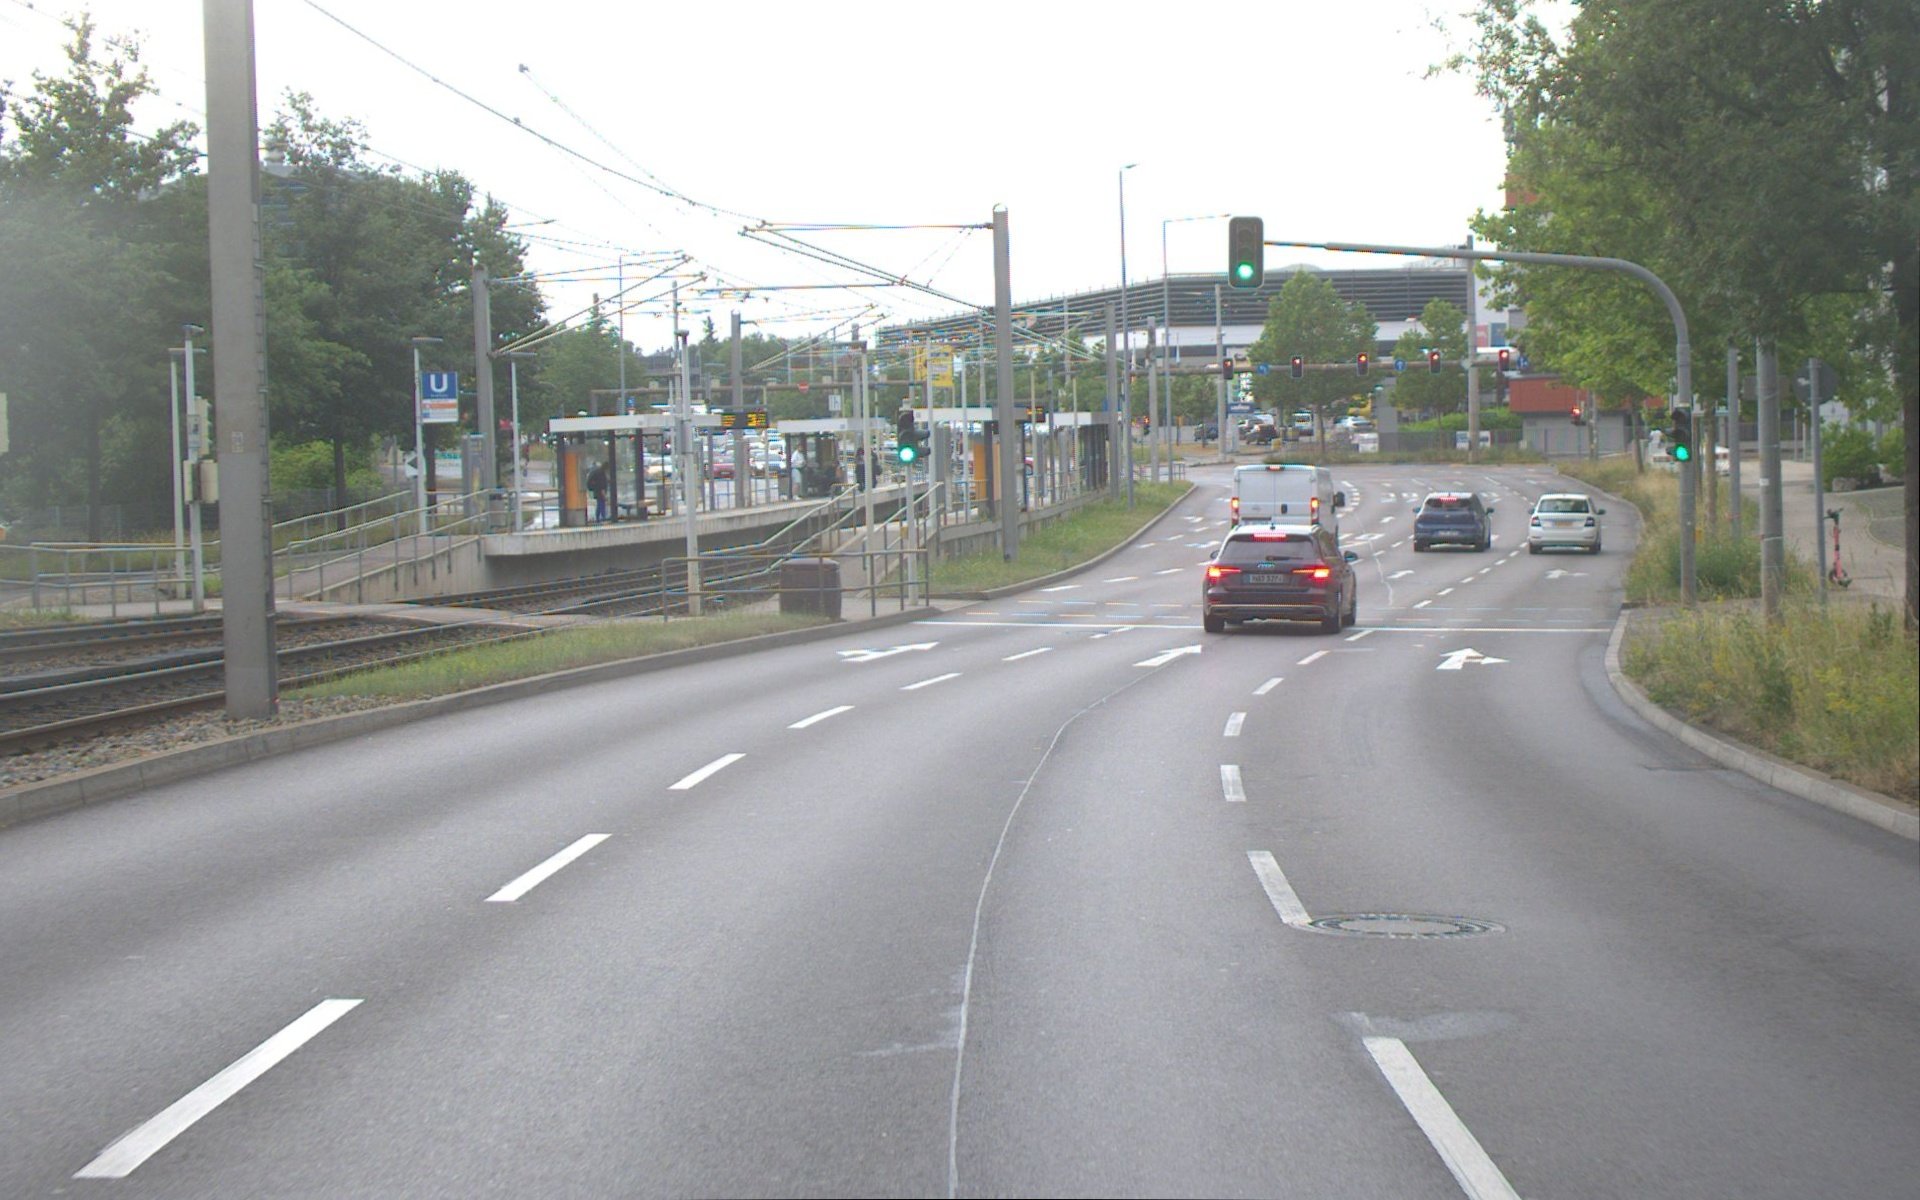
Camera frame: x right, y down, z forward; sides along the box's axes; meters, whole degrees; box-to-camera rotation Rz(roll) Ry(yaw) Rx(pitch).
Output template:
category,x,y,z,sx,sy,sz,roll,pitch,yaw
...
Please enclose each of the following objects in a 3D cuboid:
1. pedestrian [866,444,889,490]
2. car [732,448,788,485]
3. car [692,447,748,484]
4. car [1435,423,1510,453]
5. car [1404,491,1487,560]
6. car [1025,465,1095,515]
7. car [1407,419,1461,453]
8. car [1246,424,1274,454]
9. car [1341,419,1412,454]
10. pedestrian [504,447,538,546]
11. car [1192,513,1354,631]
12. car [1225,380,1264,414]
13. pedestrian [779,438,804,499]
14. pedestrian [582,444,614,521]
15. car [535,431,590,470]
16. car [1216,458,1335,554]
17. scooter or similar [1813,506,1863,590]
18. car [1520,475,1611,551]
category,x,y,z,sx,sy,sz,roll,pitch,yaw
pedestrian,-3.178,-5.129,132.406,0.752,1.745,0.764,0,0,8
car,-11.831,-7.853,203.086,1.993,2.007,4.001,0,0,-24
car,-14.009,-7.854,200.835,1.993,2.007,4.001,0,0,-24
car,28.923,-9.150,194.138,2.021,1.617,4.000,-1,3,-33
car,12.216,-1.864,86.670,2.022,1.617,3.999,0,0,7
car,3.391,-3.721,116.073,1.994,1.447,3.848,0,5,7
car,31.026,-10.750,225.024,1.993,2.007,4.001,0,0,-18
car,21.665,-11.607,248.505,1.818,2.007,3.471,0,0,2
car,24.620,-9.667,203.324,1.994,2.006,4.000,0,2,-34
pedestrian,-8.764,-2.064,68.678,0.549,1.946,0.664,0,0,3
car,4.267,-0.409,46.316,1.765,1.458,4.625,0,2,10
car,19.239,-13.723,232.577,1.993,2.007,4.000,0,0,-4
pedestrian,-5.780,-4.503,117.925,0.689,2.073,0.714,0,3,12
pedestrian,-8.831,-2.866,83.853,0.637,1.848,0.750,0,0,6
car,-22.870,-8.595,197.780,1.993,2.007,4.001,0,0,-24
car,7.483,-2.249,81.103,2.512,2.169,5.148,0,2,8
scooter or similar,13.687,-0.816,53.606,0.457,1.259,1.337,-3,1,4
car,14.988,-2.182,85.254,2.022,1.763,4.000,0,3,7
